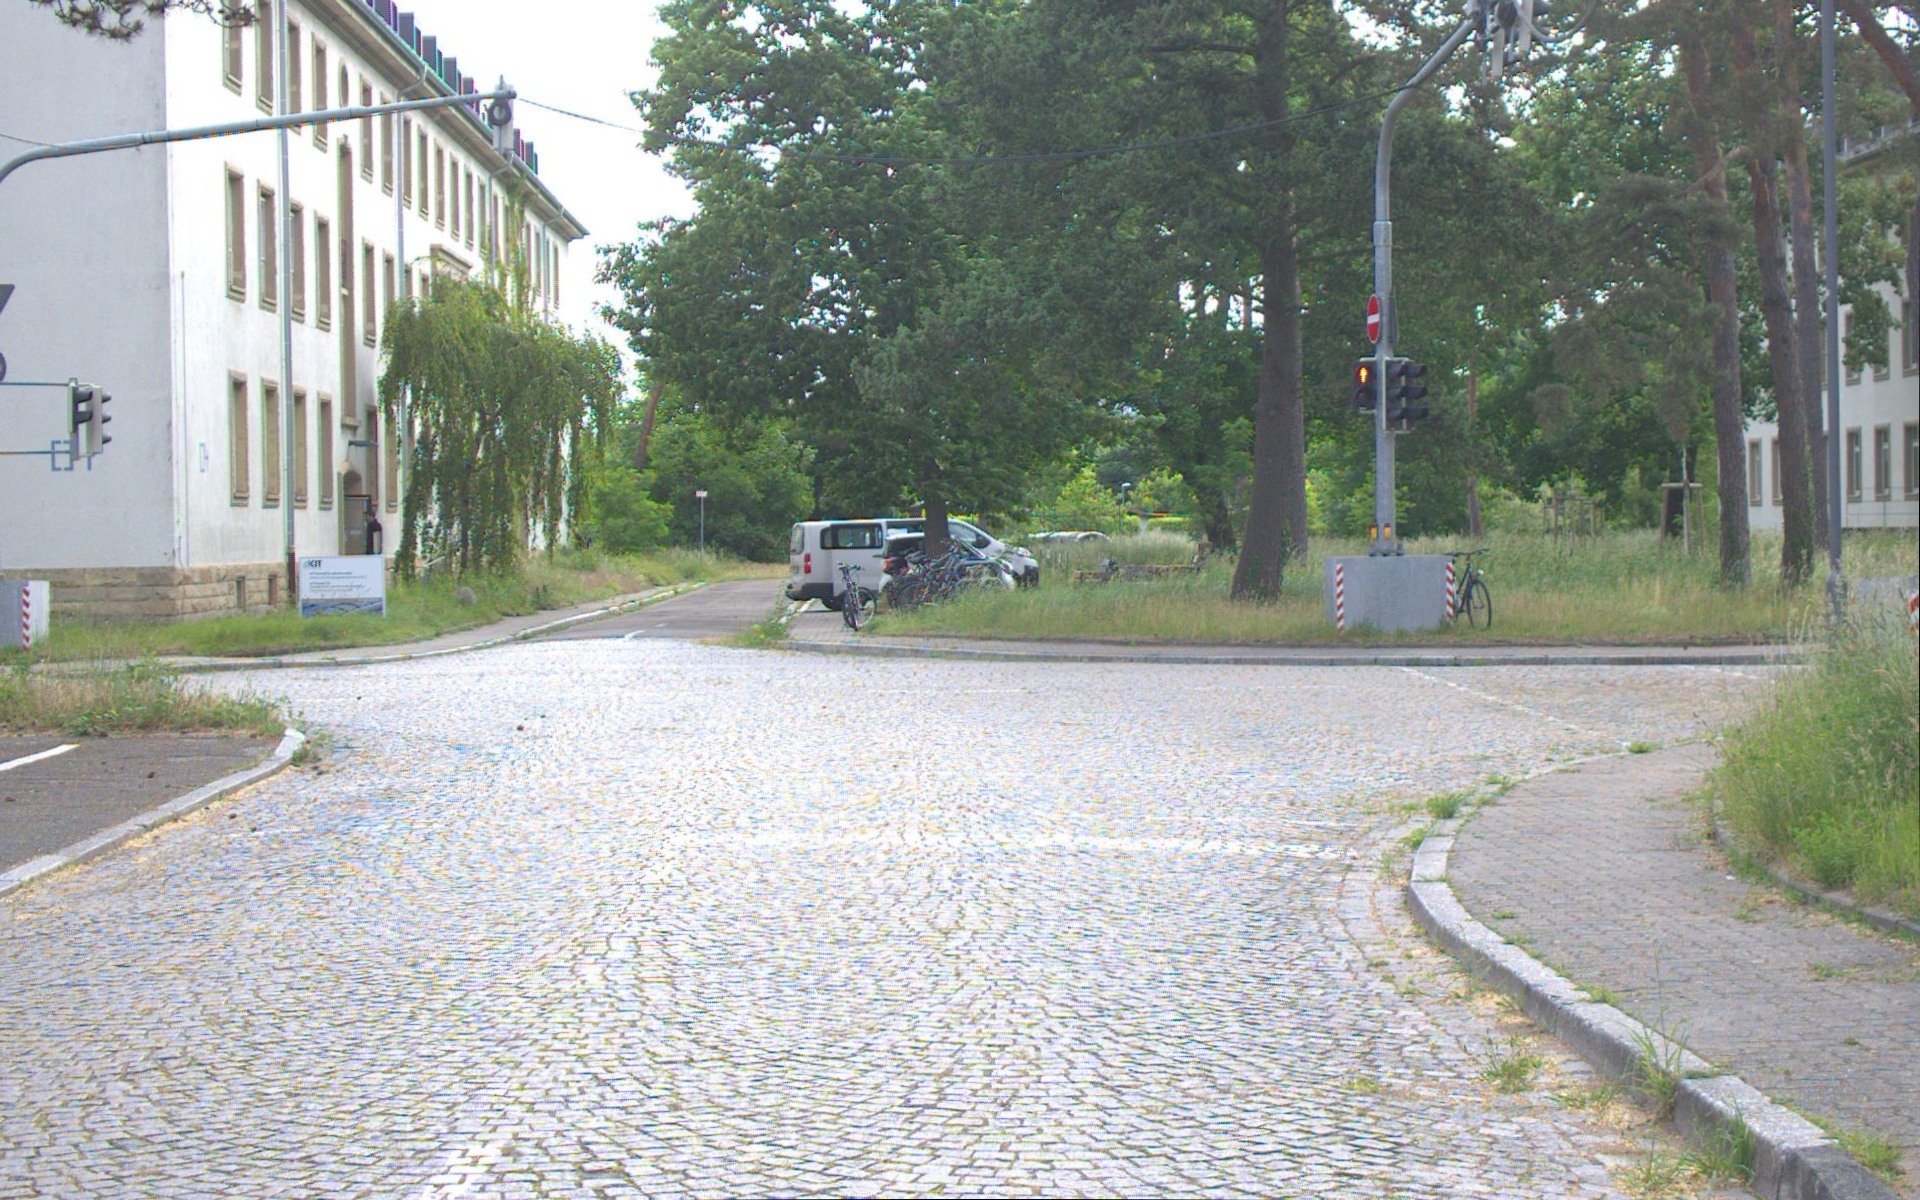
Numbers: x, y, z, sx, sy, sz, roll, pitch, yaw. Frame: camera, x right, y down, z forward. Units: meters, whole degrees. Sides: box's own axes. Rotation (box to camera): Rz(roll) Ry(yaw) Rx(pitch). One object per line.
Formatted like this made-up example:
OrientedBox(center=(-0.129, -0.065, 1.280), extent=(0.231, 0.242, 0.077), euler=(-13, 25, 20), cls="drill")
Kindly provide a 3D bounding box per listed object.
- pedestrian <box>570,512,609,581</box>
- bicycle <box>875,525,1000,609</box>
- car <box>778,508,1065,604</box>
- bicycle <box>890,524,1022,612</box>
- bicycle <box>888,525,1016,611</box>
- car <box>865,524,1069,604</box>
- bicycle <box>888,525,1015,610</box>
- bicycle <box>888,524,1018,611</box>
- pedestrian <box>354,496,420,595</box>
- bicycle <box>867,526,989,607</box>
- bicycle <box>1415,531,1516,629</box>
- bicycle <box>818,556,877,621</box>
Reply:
OrientedBox(center=(-10.965, -1.584, 101.815), extent=(0.959, 2.007, 0.795), euler=(0, 1, 9), cls="pedestrian")
OrientedBox(center=(-0.379, -0.558, 57.583), extent=(2.070, 1.373, 0.620), euler=(-1, 1, 0), cls="bicycle")
OrientedBox(center=(-0.835, -0.944, 72.577), extent=(5.690, 1.904, 2.231), euler=(-1, 1, -13), cls="car")
OrientedBox(center=(-0.063, -0.511, 54.694), extent=(2.070, 1.373, 0.620), euler=(-1, 1, 0), cls="bicycle")
OrientedBox(center=(-0.132, -0.530, 55.989), extent=(2.070, 1.373, 0.620), euler=(-1, 1, 0), cls="bicycle")
OrientedBox(center=(0.118, -0.738, 69.215), extent=(3.932, 1.539, 2.000), euler=(-1, 1, -5), cls="car")
OrientedBox(center=(-0.138, -0.540, 56.786), extent=(2.070, 1.373, 0.620), euler=(-1, 1, 0), cls="bicycle")
OrientedBox(center=(-0.118, -0.521, 55.364), extent=(2.070, 1.373, 0.620), euler=(-1, 1, 0), cls="bicycle")
OrientedBox(center=(-11.684, -1.113, 70.125), extent=(1.087, 2.007, 1.021), euler=(-1, 1, 5), cls="pedestrian")
OrientedBox(center=(-0.542, -0.579, 59.067), extent=(2.070, 1.373, 0.620), euler=(-1, 1, 0), cls="bicycle")
OrientedBox(center=(6.235, -0.261, 42.459), extent=(0.908, 1.173, 1.874), euler=(-1, 1, -2), cls="bicycle")
OrientedBox(center=(-1.726, -0.185, 52.893), extent=(0.618, 0.960, 2.076), euler=(0, 1, 6), cls="bicycle")
